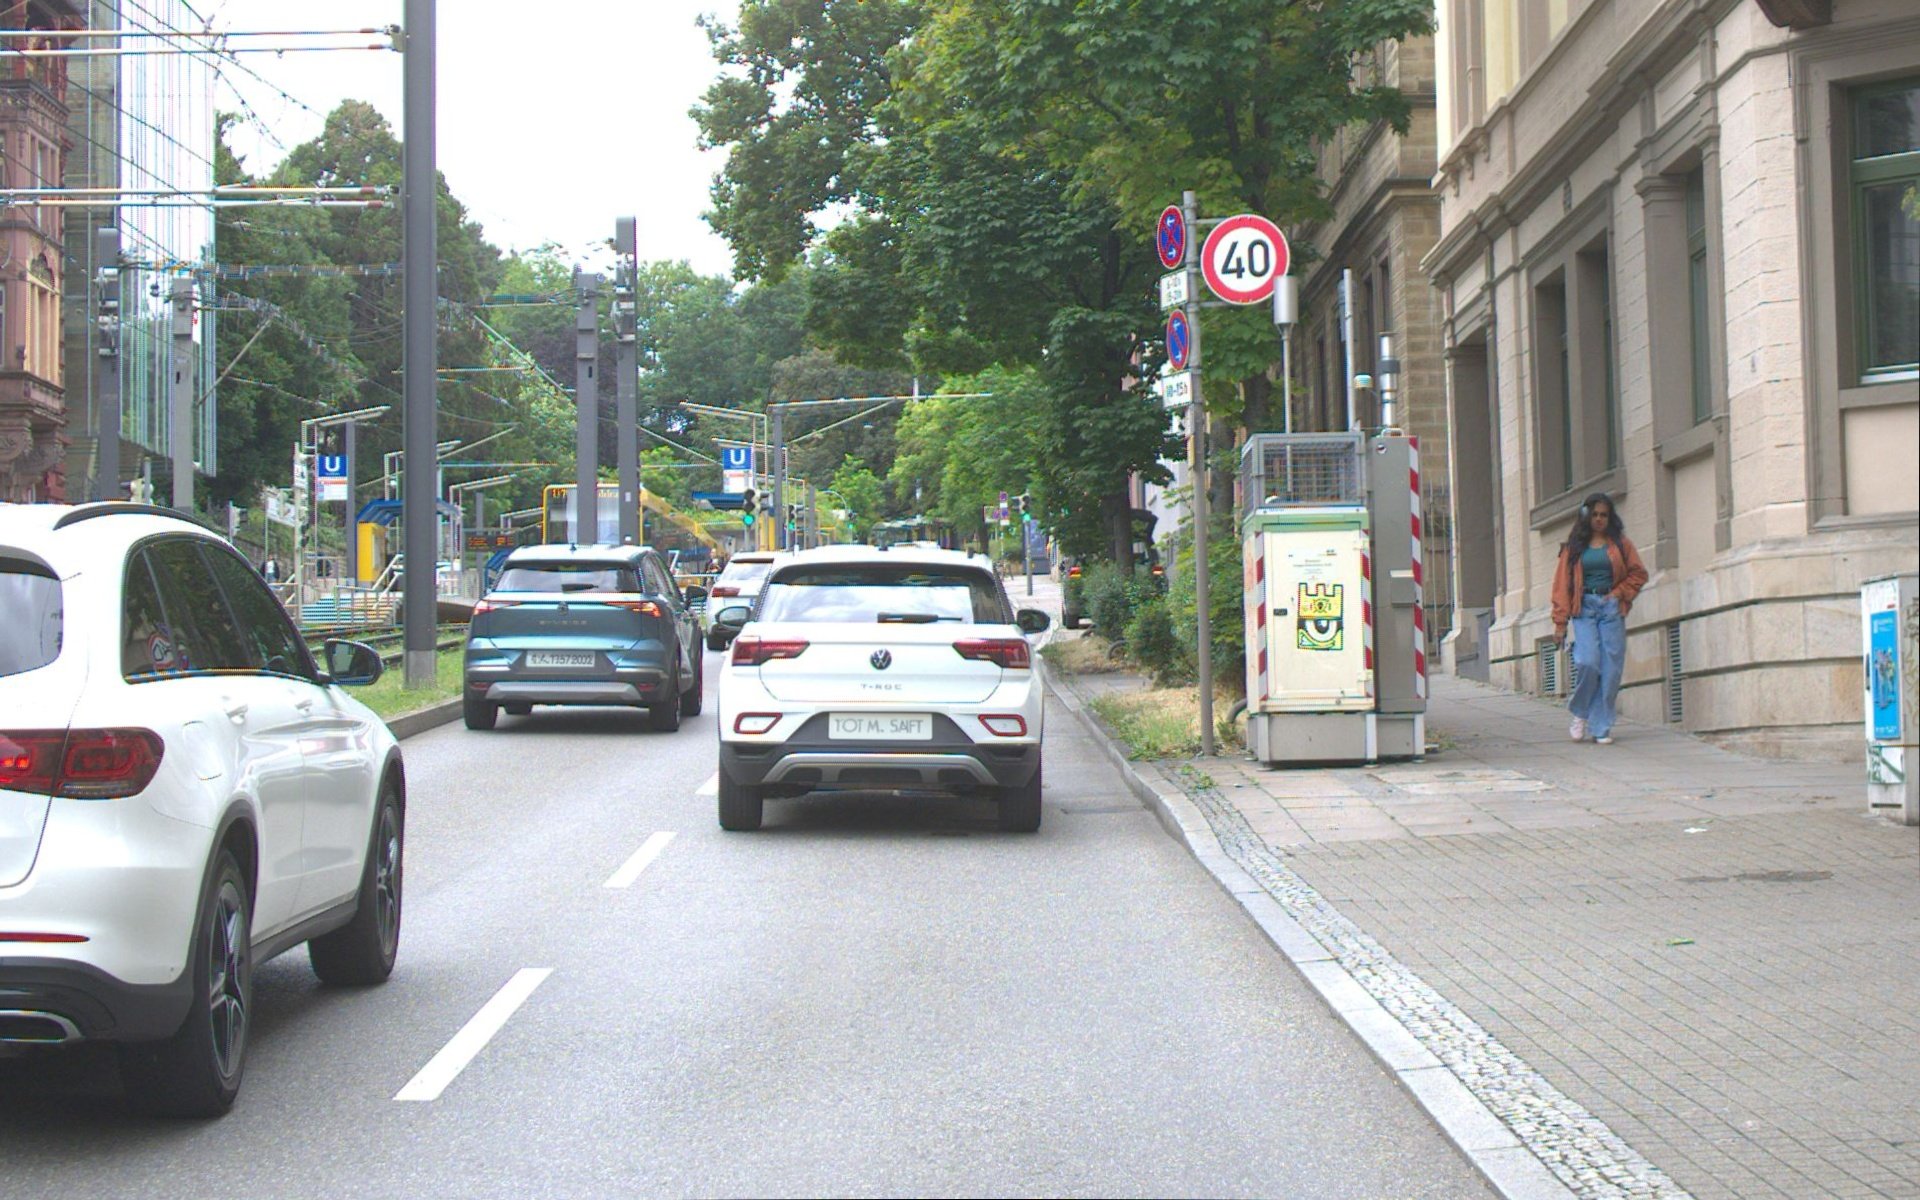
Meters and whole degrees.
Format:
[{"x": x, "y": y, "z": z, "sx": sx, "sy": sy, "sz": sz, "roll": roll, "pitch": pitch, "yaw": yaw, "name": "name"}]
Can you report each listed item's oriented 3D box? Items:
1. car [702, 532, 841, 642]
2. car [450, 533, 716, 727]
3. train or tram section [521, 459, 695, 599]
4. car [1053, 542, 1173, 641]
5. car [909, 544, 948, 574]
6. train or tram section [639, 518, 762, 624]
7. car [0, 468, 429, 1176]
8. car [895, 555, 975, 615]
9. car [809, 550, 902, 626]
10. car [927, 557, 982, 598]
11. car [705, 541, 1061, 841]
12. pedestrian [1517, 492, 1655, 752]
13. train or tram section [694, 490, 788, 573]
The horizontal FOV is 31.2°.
[{"x": -2.777, "y": -0.207, "z": 51.373, "sx": 1.835, "sy": 1.541, "sz": 4.193, "roll": 1, "pitch": 1, "yaw": 0, "name": "car"}, {"x": -3.210, "y": 0.223, "z": 29.999, "sx": 1.835, "sy": 1.541, "sz": 4.193, "roll": 1, "pitch": 1, "yaw": 0, "name": "car"}, {"x": -8.998, "y": -1.782, "z": 89.508, "sx": 2.996, "sy": 3.337, "sz": 13.439, "roll": -1, "pitch": 1, "yaw": 1, "name": "train or tram section"}, {"x": 2.623, "y": -0.159, "z": 59.773, "sx": 1.835, "sy": 1.596, "sz": 4.193, "roll": -2, "pitch": 1, "yaw": 0, "name": "car"}, {"x": -1.693, "y": -2.209, "z": 185.592, "sx": 2.068, "sy": 1.541, "sz": 4.193, "roll": 1, "pitch": 1, "yaw": 0, "name": "car"}, {"x": -8.678, "y": -0.986, "z": 116.565, "sx": 2.996, "sy": 3.337, "sz": 13.439, "roll": -1, "pitch": 1, "yaw": 1, "name": "train or tram section"}, {"x": -2.864, "y": 0.489, "z": 10.404, "sx": 1.835, "sy": 1.661, "sz": 4.671, "roll": 1, "pitch": 1, "yaw": -1, "name": "car"}, {"x": -0.648, "y": -0.414, "z": 92.008, "sx": 2.068, "sy": 1.541, "sz": 4.193, "roll": 1, "pitch": 1, "yaw": 0, "name": "car"}, {"x": -2.184, "y": -0.266, "z": 72.775, "sx": 1.835, "sy": 1.541, "sz": 4.193, "roll": 1, "pitch": 1, "yaw": 0, "name": "car"}, {"x": -0.222, "y": -0.867, "z": 133.488, "sx": 2.068, "sy": 1.541, "sz": 4.193, "roll": 1, "pitch": 1, "yaw": 0, "name": "car"}, {"x": -0.448, "y": 0.455, "z": 20.022, "sx": 1.835, "sy": 1.541, "sz": 4.194, "roll": 1, "pitch": 1, "yaw": -1, "name": "car"}, {"x": 4.108, "y": 0.128, "z": 22.611, "sx": 0.710, "sy": 1.657, "sz": 1.127, "roll": -1, "pitch": 1, "yaw": 2, "name": "pedestrian"}, {"x": -9.249, "y": -2.849, "z": 146.715, "sx": 2.996, "sy": 3.337, "sz": 13.439, "roll": -1, "pitch": 1, "yaw": 1, "name": "train or tram section"}]
